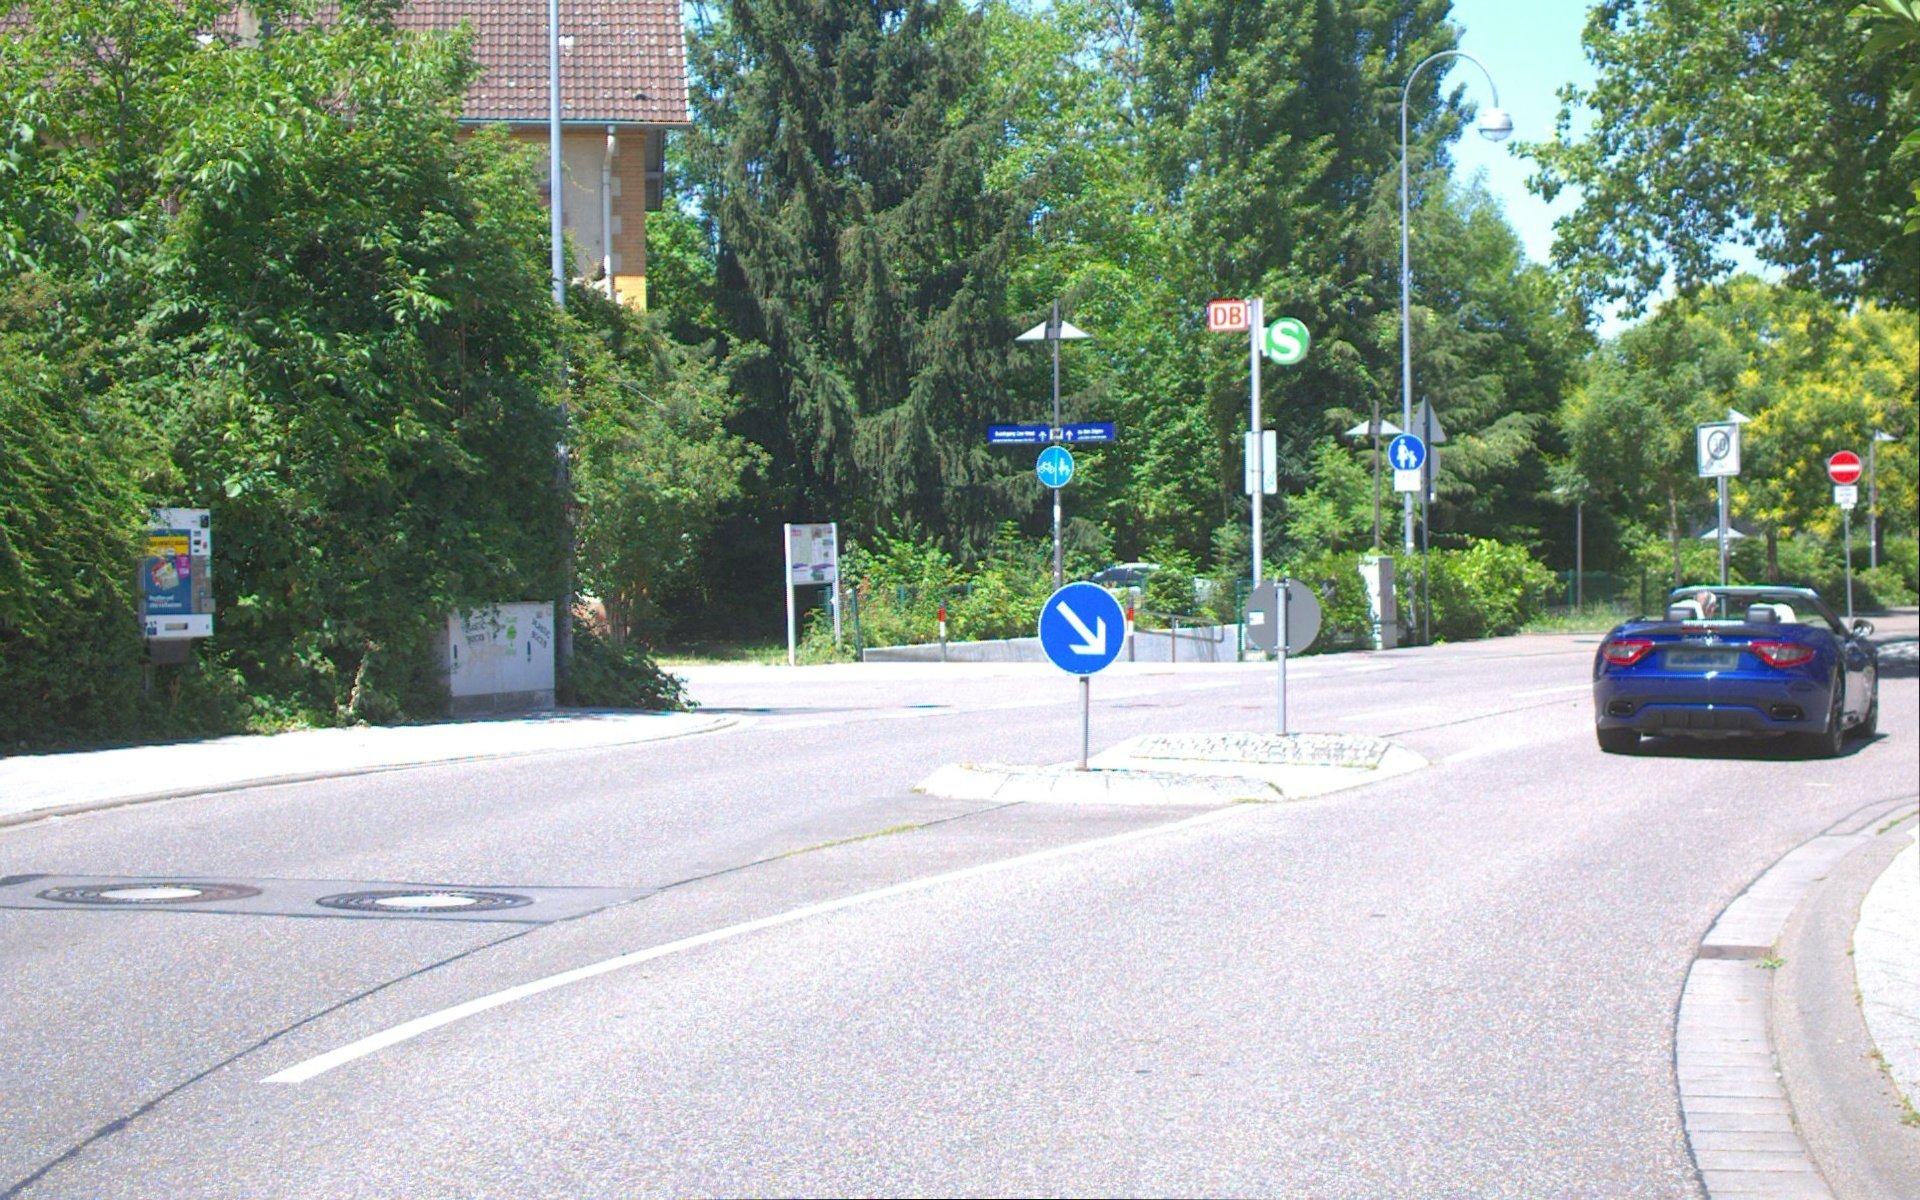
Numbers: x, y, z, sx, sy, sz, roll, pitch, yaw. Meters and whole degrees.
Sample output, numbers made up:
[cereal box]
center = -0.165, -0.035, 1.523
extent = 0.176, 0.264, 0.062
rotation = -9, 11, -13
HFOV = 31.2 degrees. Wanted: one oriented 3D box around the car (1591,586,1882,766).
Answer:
[car]
center = 6.535, 0.565, 28.568
extent = 1.828, 1.332, 4.696
rotation = 0, 1, 19
